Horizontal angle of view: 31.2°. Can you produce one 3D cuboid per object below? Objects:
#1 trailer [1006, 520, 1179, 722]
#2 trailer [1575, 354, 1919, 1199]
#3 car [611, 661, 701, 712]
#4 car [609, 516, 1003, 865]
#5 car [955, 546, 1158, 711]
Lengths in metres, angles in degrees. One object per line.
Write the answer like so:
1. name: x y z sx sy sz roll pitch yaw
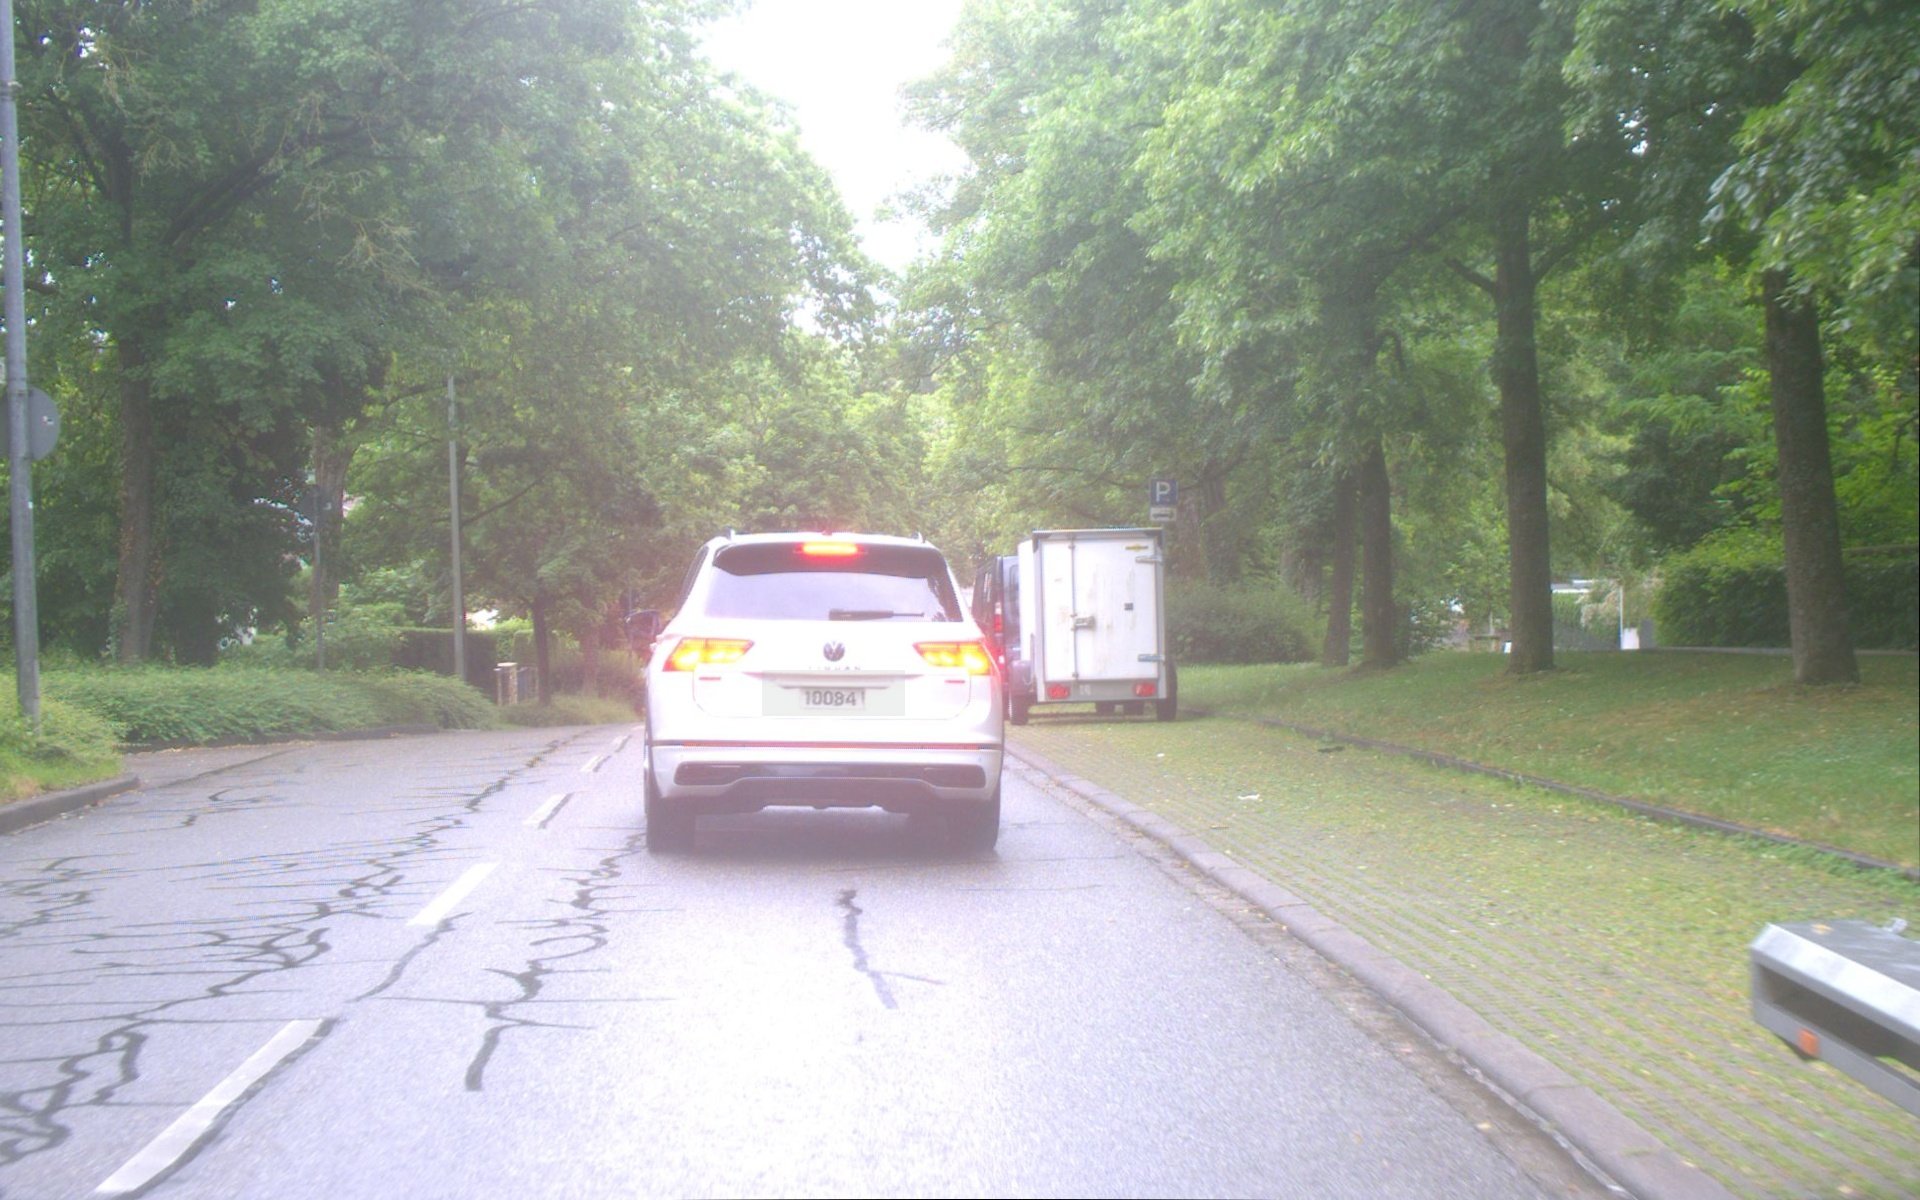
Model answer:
1. trailer: 1.415 0.238 38.020 1.530 2.068 4.000 -2 -1 -2
2. trailer: 2.961 0.434 6.221 2.449 1.806 5.892 -1 0 -2
3. car: -9.765 2.798 110.732 1.994 1.593 4.008 -1 -2 9
4. car: -0.766 0.422 18.870 1.905 1.679 4.201 1 0 0
5. car: 1.123 0.384 42.798 1.993 1.903 5.509 -1 -1 -4
